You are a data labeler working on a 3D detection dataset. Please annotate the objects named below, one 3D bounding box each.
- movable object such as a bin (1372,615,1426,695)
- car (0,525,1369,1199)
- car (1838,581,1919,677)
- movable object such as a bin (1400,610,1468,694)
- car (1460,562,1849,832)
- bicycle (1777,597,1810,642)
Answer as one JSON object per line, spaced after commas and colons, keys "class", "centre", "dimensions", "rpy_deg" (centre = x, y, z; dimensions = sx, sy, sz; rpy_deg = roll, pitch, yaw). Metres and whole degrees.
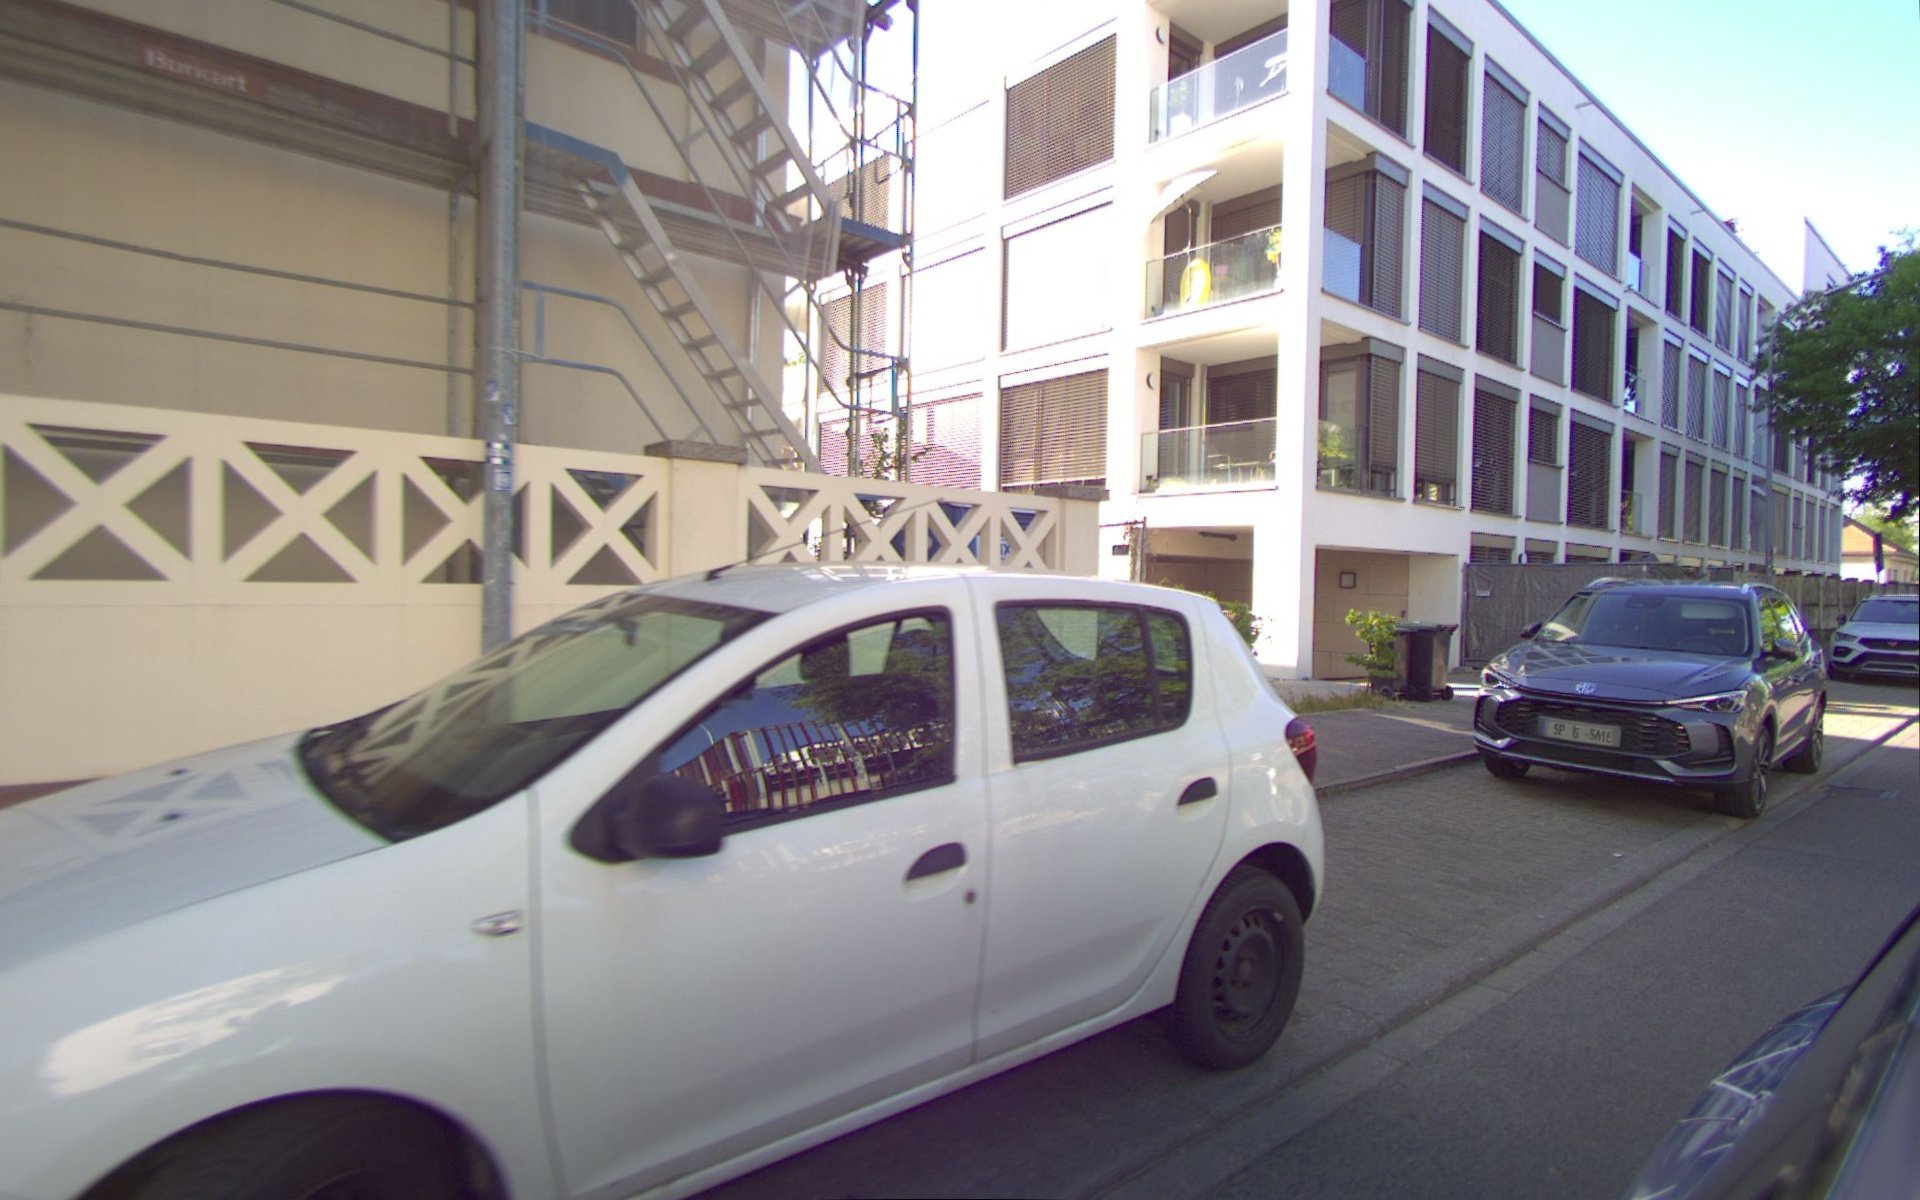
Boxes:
{"class": "movable object such as a bin", "centre": [5.558, 0.682, 12.824], "dimensions": [0.502, 0.976, 0.435], "rpy_deg": [0, 0, -36]}
{"class": "car", "centre": [-0.743, 0.625, 2.850], "dimensions": [3.918, 1.528, 1.729], "rpy_deg": [0, 3, -38]}
{"class": "car", "centre": [17.675, 0.480, 18.648], "dimensions": [4.056, 1.636, 1.795], "rpy_deg": [0, 1, -42]}
{"class": "movable object such as a bin", "centre": [6.102, 0.653, 13.035], "dimensions": [0.553, 1.040, 0.599], "rpy_deg": [0, 0, -37]}
{"class": "car", "centre": [5.862, 0.566, 8.319], "dimensions": [4.229, 1.658, 1.714], "rpy_deg": [0, 2, -43]}
{"class": "bicycle", "centre": [20.554, 0.465, 24.949], "dimensions": [1.799, 1.054, 0.337], "rpy_deg": [0, 1, -41]}
